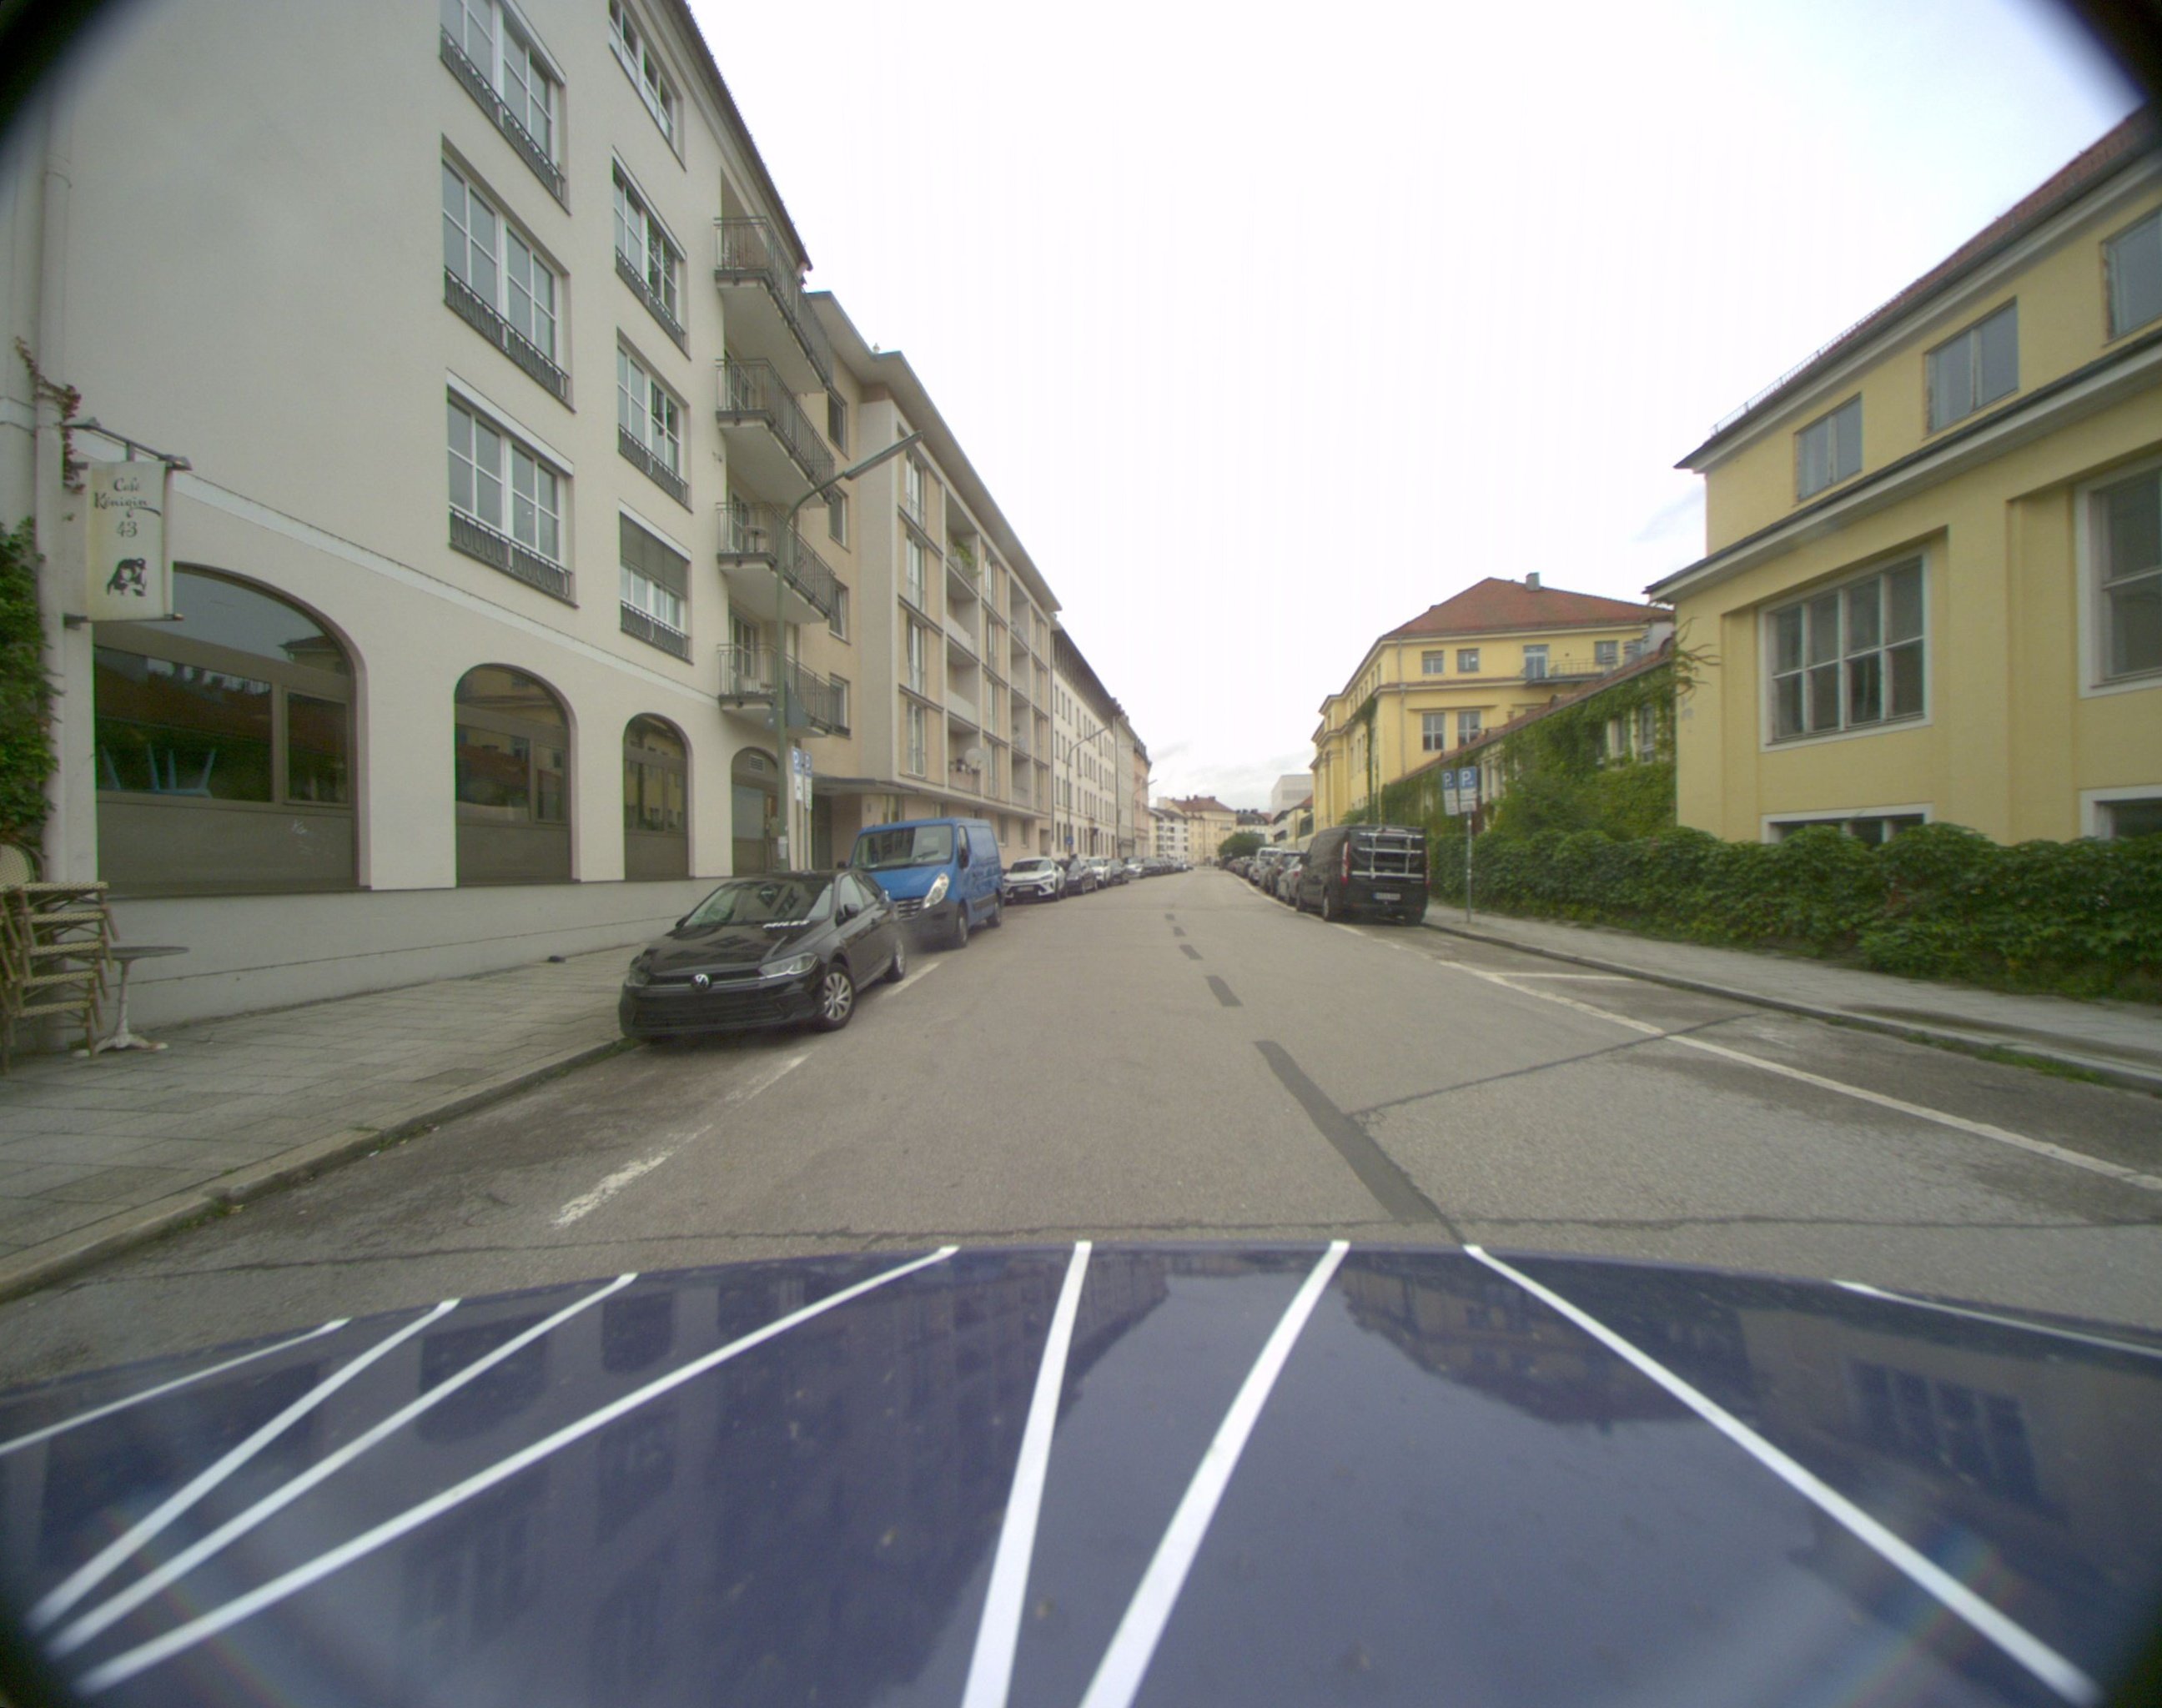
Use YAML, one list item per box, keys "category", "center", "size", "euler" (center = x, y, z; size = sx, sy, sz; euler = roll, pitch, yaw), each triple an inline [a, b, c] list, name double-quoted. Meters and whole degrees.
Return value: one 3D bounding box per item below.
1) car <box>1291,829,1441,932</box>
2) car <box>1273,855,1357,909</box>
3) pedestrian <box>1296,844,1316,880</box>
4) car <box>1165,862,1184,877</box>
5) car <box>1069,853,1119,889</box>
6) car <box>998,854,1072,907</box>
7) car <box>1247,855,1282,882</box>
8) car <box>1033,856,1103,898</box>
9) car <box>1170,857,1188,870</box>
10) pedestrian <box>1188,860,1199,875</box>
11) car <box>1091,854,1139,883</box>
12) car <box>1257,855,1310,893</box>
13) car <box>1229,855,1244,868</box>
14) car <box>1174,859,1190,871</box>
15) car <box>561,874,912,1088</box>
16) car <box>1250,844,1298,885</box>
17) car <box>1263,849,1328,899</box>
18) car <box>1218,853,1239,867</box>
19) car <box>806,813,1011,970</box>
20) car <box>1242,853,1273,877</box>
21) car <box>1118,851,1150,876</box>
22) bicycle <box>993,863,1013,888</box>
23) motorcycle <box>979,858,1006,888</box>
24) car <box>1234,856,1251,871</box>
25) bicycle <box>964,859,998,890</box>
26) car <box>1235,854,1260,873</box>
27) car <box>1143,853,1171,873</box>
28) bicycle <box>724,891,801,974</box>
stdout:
- category: "car"
  center: [6.259, 0.538, 17.312]
  size: [1.929, 1.967, 4.624]
  euler: [2, 0, 5]
- category: "car"
  center: [6.833, 0.777, 22.574]
  size: [1.709, 1.357, 4.004]
  euler: [4, 0, 8]
- category: "pedestrian"
  center: [10.934, 0.376, 36.921]
  size: [0.844, 1.744, 0.873]
  euler: [0, 0, 11]
- category: "car"
  center: [10.410, 1.667, 84.701]
  size: [1.767, 1.531, 4.004]
  euler: [-3, -1, 11]
- category: "car"
  center: [0.671, 0.769, 35.728]
  size: [1.705, 1.460, 4.123]
  euler: [-5, -1, 8]
- category: "car"
  center: [-1.442, 0.856, 25.573]
  size: [1.779, 1.513, 4.306]
  euler: [-5, -1, 4]
- category: "car"
  center: [10.539, 0.815, 43.830]
  size: [1.669, 1.401, 3.562]
  euler: [2, 0, 9]
- category: "car"
  center: [-0.437, 0.866, 30.575]
  size: [1.775, 1.420, 4.697]
  euler: [-5, -1, 11]
- category: "car"
  center: [11.805, 1.135, 91.442]
  size: [1.723, 1.457, 4.196]
  euler: [-3, -1, 12]
- category: "pedestrian"
  center: [22.482, 2.678, 151.880]
  size: [1.928, 2.933, 2.027]
  euler: [0, 0, 10]
- category: "car"
  center: [1.855, 0.729, 40.388]
  size: [1.830, 1.373, 4.495]
  euler: [-3, -1, 11]
- category: "car"
  center: [8.722, 0.811, 33.087]
  size: [1.806, 1.370, 4.495]
  euler: [4, 1, 11]
- category: "car"
  center: [20.426, 1.005, 100.088]
  size: [1.772, 1.545, 4.213]
  euler: [2, 0, 11]
- category: "car"
  center: [14.210, 1.501, 106.626]
  size: [1.999, 1.563, 4.495]
  euler: [-3, -1, 11]
- category: "car"
  center: [-3.032, 1.006, 7.724]
  size: [1.719, 1.386, 3.999]
  euler: [-4, 0, -1]
- category: "car"
  center: [9.622, 0.508, 38.270]
  size: [1.896, 1.788, 4.885]
  euler: [4, 0, 10]
- category: "car"
  center: [7.746, 0.687, 27.780]
  size: [1.705, 1.597, 4.494]
  euler: [3, 0, 9]
- category: "car"
  center: [26.431, 1.107, 136.128]
  size: [2.846, 2.536, 6.896]
  euler: [0, 0, 4]
- category: "car"
  center: [-2.858, 0.507, 14.060]
  size: [2.114, 2.201, 5.028]
  euler: [-5, 1, 4]
- category: "car"
  center: [12.241, 0.735, 52.905]
  size: [1.720, 1.472, 4.223]
  euler: [4, 0, 9]
- category: "car"
  center: [3.648, 0.620, 51.448]
  size: [1.617, 1.507, 3.383]
  euler: [-5, -1, 11]
- category: "bicycle"
  center: [-3.689, 0.992, 35.969]
  size: [0.514, 1.150, 1.602]
  euler: [1, 0, 9]
- category: "motorcycle"
  center: [-3.926, 0.821, 33.711]
  size: [0.636, 1.263, 2.042]
  euler: [1, 0, 9]
- category: "car"
  center: [17.322, 1.014, 81.607]
  size: [1.737, 1.431, 3.783]
  euler: [2, 0, 11]
- category: "bicycle"
  center: [-4.135, 0.843, 31.527]
  size: [1.341, 1.195, 0.394]
  euler: [3, 2, -3]
- category: "car"
  center: [15.219, 0.844, 69.521]
  size: [1.785, 1.631, 4.303]
  euler: [3, 0, 8]
- category: "car"
  center: [6.141, 0.697, 60.819]
  size: [1.876, 1.439, 4.704]
  euler: [-2, -1, 9]
- category: "bicycle"
  center: [-4.713, 1.127, 11.361]
  size: [0.566, 1.063, 1.786]
  euler: [0, 0, -6]
